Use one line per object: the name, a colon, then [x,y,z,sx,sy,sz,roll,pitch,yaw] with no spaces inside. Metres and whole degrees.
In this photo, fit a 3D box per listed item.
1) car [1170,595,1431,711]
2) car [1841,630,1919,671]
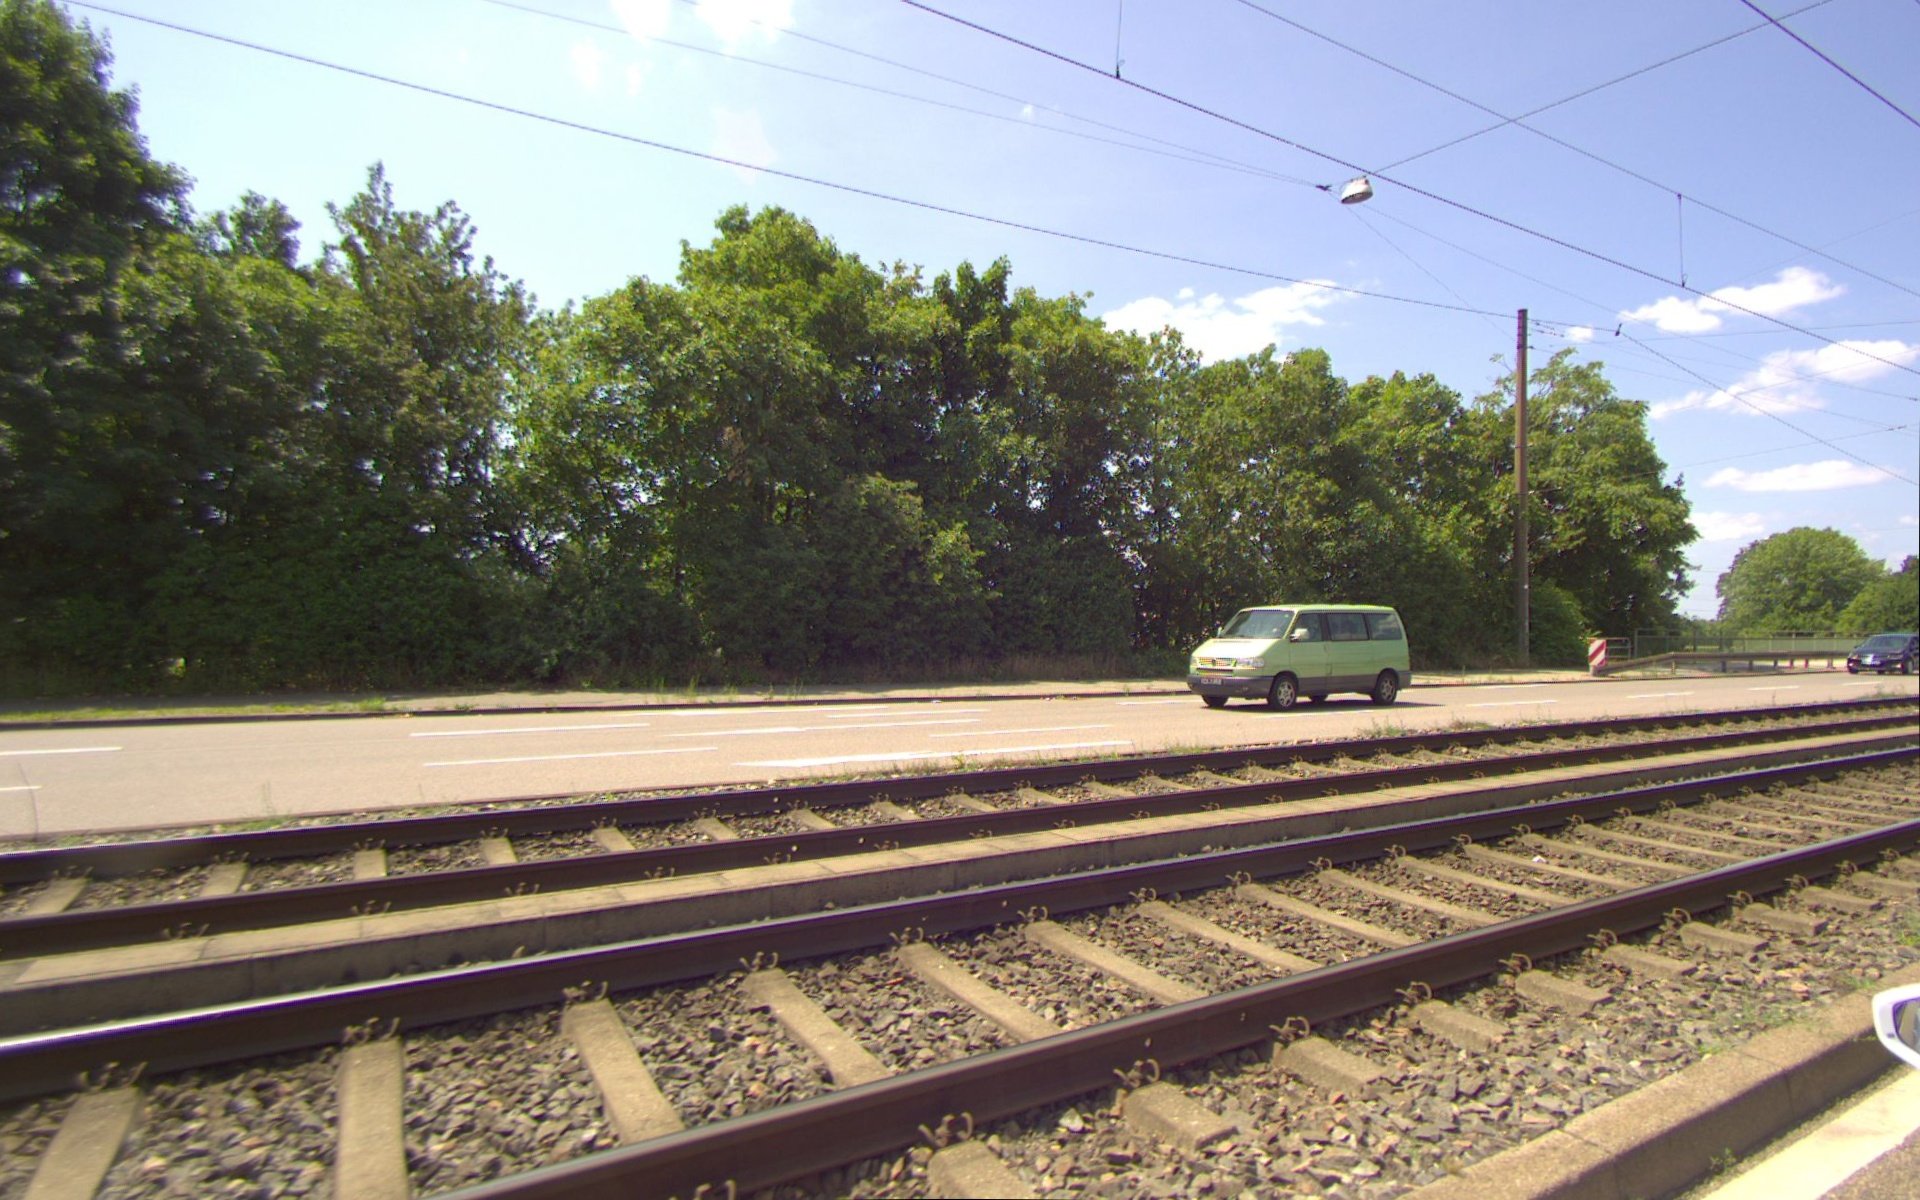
car: [6.526,0.982,19.041,5.119,1.950,1.803,2,-2,-31]
car: [33.151,1.792,35.787,3.883,1.365,1.556,2,-2,-31]
